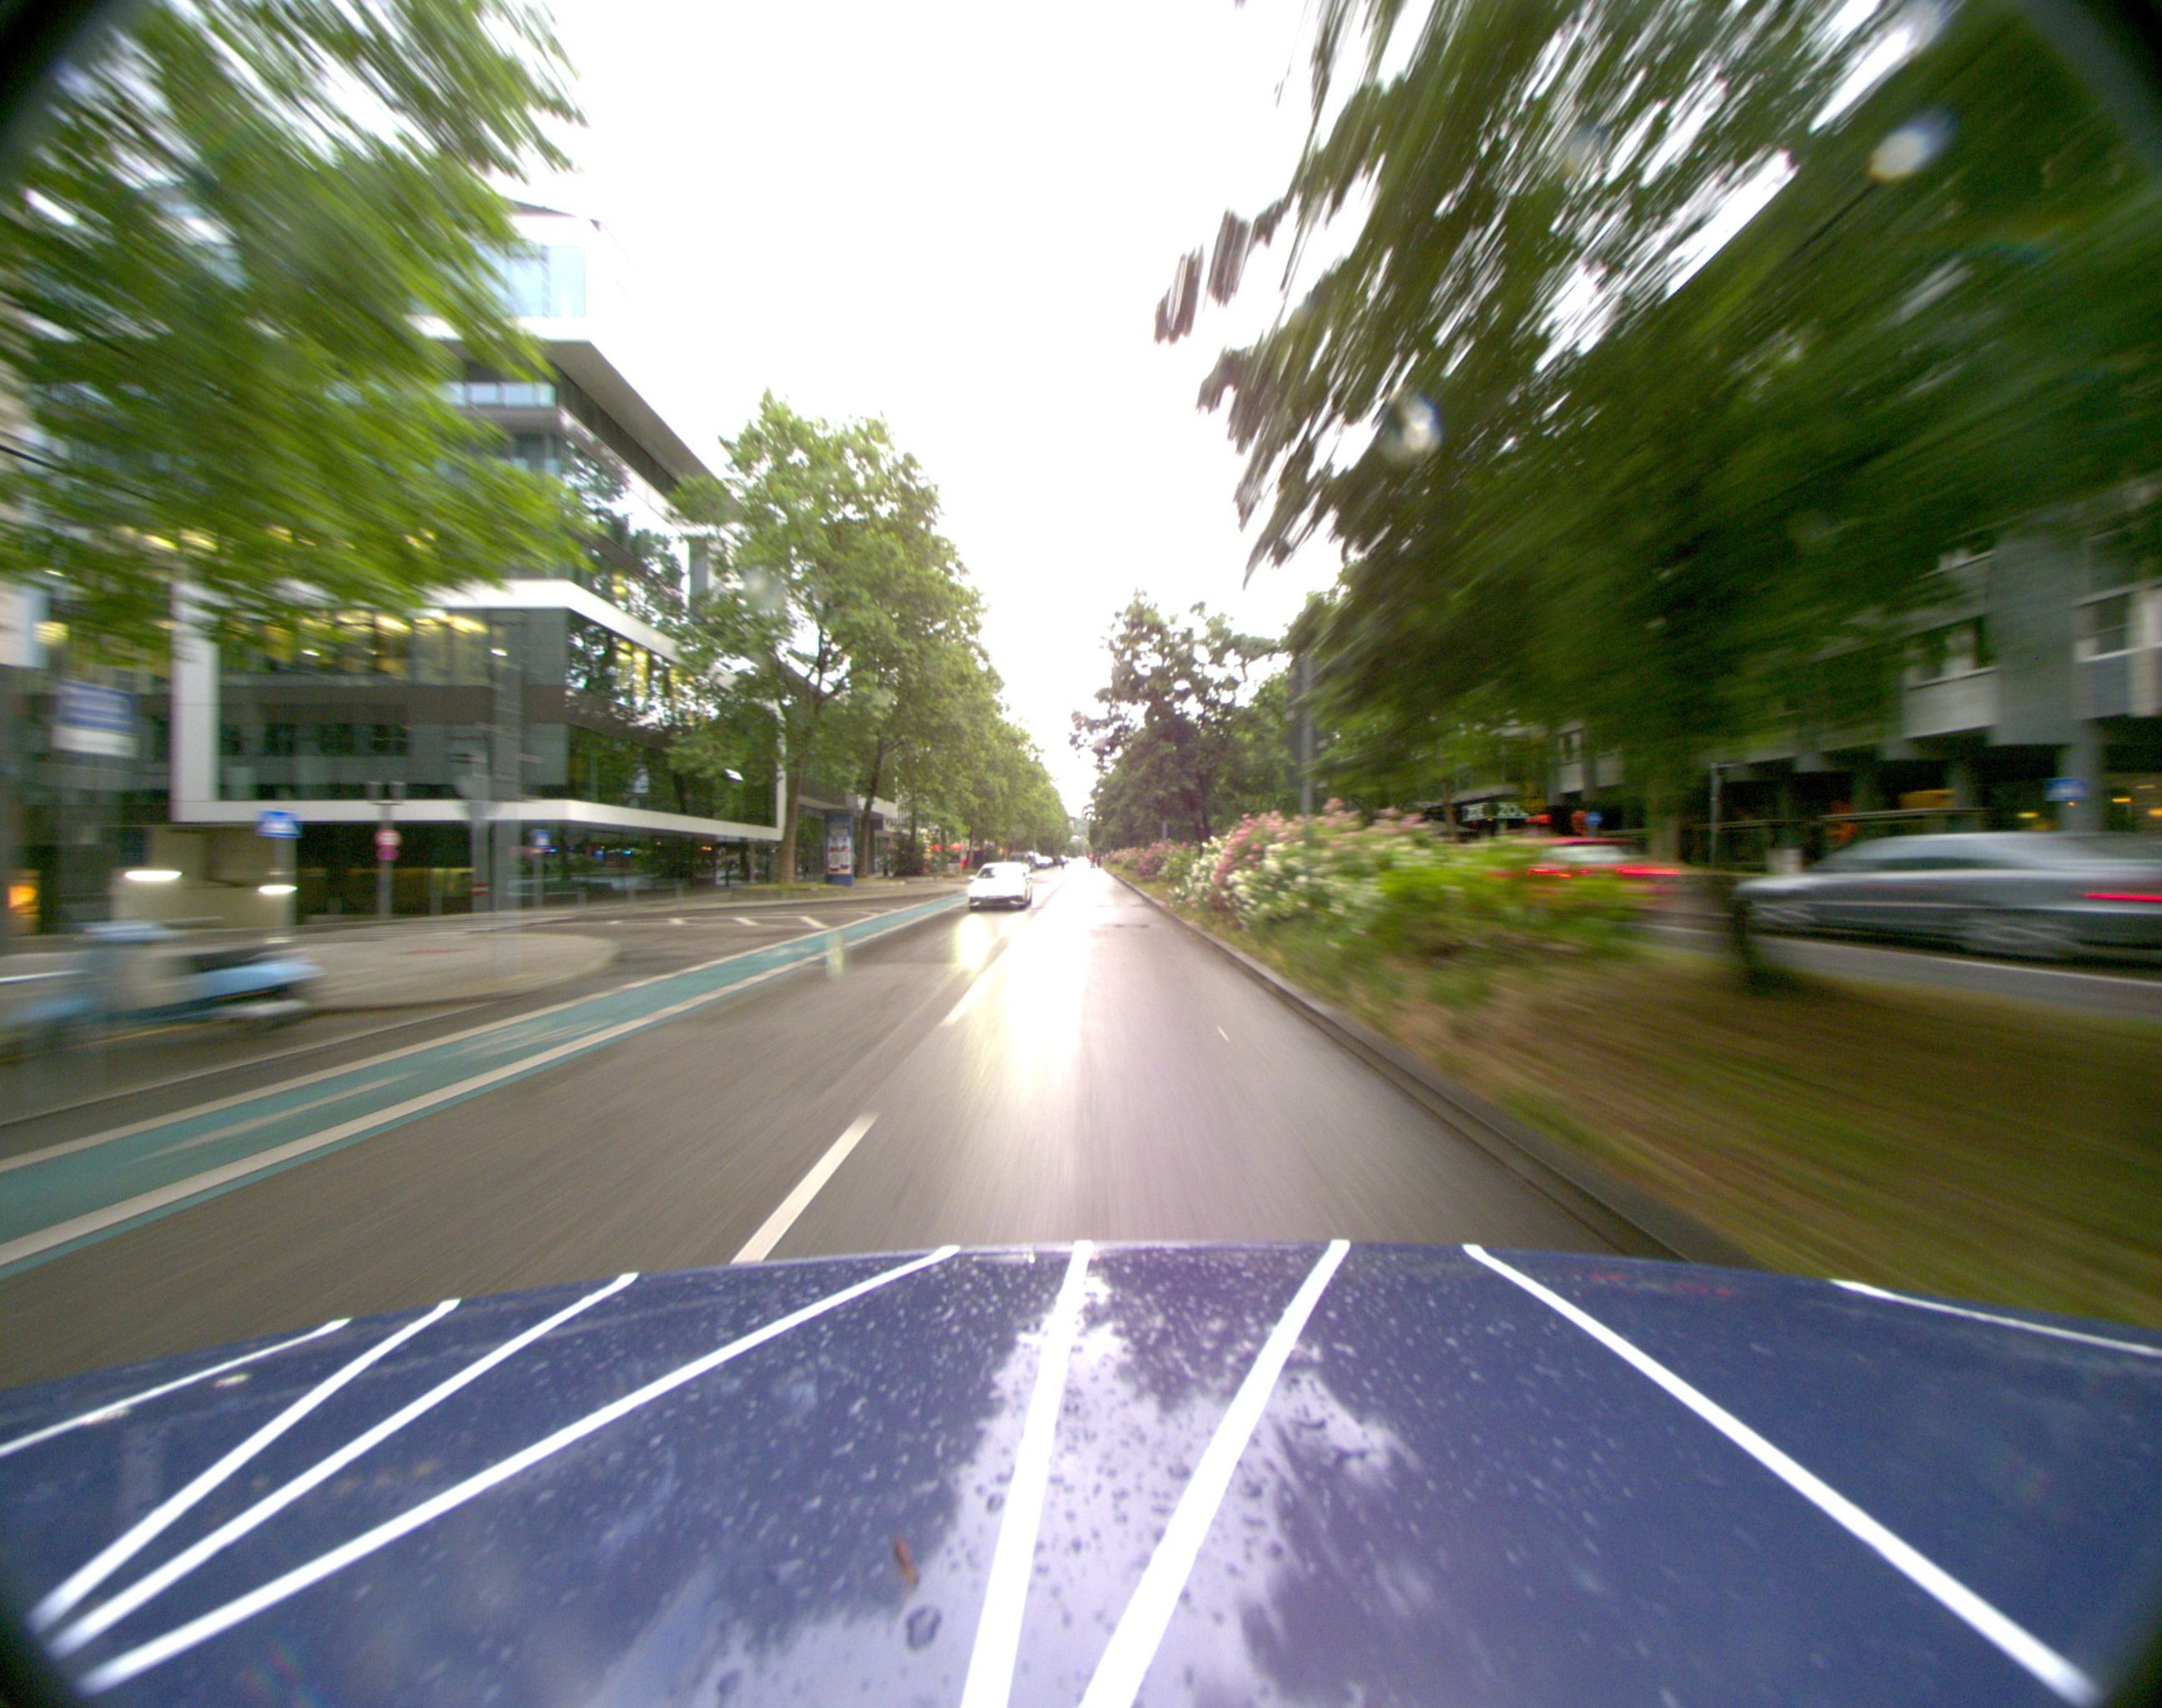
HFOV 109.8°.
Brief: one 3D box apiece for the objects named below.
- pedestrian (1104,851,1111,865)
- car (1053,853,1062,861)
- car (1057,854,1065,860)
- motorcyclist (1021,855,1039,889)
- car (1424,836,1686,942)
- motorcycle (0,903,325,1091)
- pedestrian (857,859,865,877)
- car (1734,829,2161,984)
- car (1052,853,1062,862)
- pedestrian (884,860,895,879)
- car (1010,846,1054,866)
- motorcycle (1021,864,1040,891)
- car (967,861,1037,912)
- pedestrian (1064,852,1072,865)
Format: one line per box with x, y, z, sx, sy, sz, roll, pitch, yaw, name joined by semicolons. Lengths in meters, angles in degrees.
3.448;0.509;99.725;0.892;1.839;0.721;-2;1;0;pedestrian
-4.674;0.659;152.849;1.598;1.516;3.425;-1;0;1;car
-4.707;0.685;177.131;1.598;1.516;3.425;-1;0;1;car
-2.453;0.851;36.899;0.744;1.575;1.059;-2;1;1;motorcyclist
7.481;0.478;12.581;1.731;1.420;4.190;1;0;1;car
-8.152;1.172;6.767;0.683;1.359;1.950;3;1;41;motorcycle
-19.458;1.237;67.190;0.527;1.616;0.719;1;2;1;pedestrian
10.707;0.500;9.202;1.731;1.420;4.497;1;0;1;car
-4.246;0.557;135.371;1.598;1.516;3.425;-1;0;1;car
-16.034;1.295;63.658;0.588;1.496;1.005;0;0;1;pedestrian
-7.209;0.325;111.384;6.267;2.665;2.326;-1;1;36;car
-2.444;1.118;36.987;0.744;1.194;2.235;-2;1;1;motorcycle
-2.510;1.003;24.955;1.795;1.463;3.794;-2;0;1;car
-1.840;0.610;105.361;0.892;1.839;0.786;-2;1;-12;pedestrian
